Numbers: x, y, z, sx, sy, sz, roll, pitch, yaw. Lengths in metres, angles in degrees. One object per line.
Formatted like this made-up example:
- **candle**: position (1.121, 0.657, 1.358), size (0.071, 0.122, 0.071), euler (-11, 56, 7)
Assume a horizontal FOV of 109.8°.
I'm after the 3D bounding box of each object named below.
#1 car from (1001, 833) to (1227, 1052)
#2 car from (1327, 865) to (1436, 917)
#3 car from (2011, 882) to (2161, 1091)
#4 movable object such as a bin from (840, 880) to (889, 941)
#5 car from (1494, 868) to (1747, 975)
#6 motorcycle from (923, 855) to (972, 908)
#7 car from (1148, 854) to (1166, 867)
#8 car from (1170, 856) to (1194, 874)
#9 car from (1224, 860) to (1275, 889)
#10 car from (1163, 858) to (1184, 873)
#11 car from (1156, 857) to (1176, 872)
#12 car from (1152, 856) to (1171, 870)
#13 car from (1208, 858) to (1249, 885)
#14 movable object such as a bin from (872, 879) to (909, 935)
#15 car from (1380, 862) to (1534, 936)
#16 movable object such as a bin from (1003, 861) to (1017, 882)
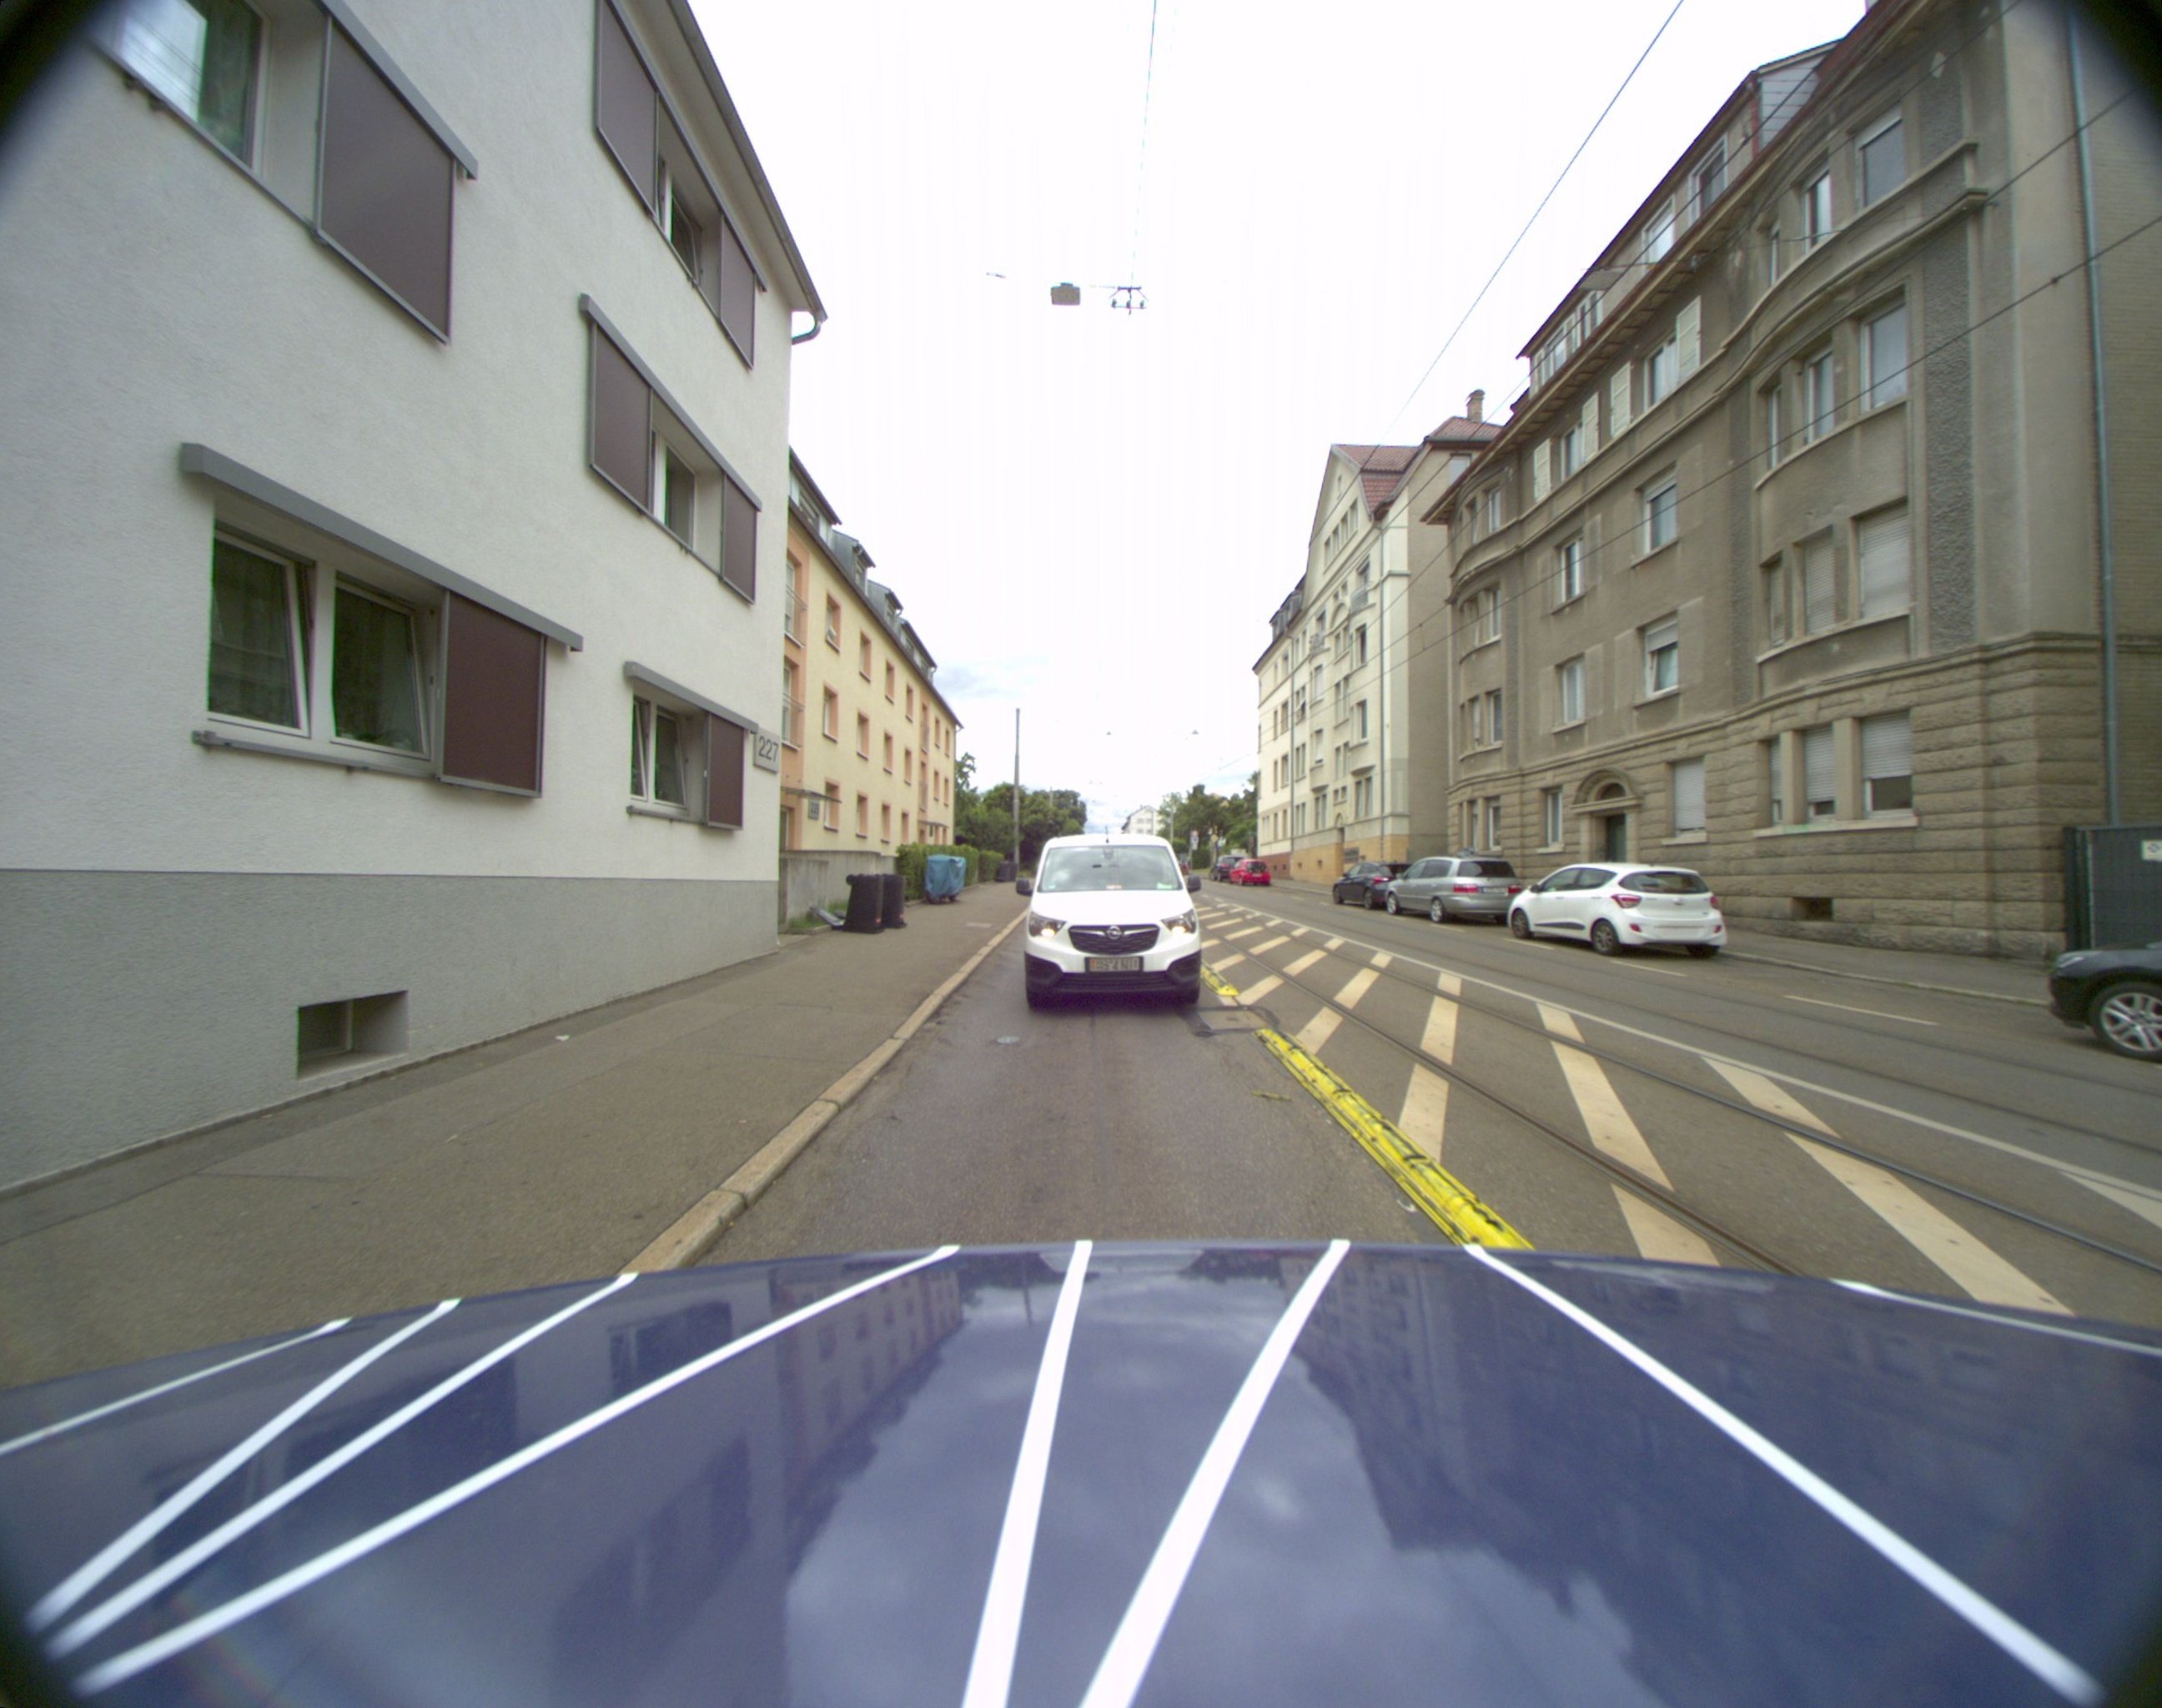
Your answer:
- **car**: position (0.312, 0.739, 8.757), size (1.888, 1.827, 4.676), euler (-1, 0, 1)
- **car**: position (9.200, 1.080, 23.632), size (1.743, 1.373, 4.044), euler (0, 0, 0)
- **car**: position (8.868, 1.032, 4.234), size (1.789, 1.502, 4.526), euler (2, 0, 1)
- **movable object such as a bin**: position (-3.817, 0.983, 13.417), size (0.637, 1.003, 0.602), euler (3, 0, 1)
- **car**: position (9.131, 1.050, 13.313), size (1.743, 1.502, 3.800), euler (1, 0, 1)
- **motorcycle**: position (-3.751, 0.751, 21.514), size (0.731, 1.382, 1.937), euler (4, 0, 7)
- **car**: position (9.687, 0.849, 97.129), size (1.743, 1.517, 3.951), euler (2, 0, 0)
- **car**: position (9.701, 1.046, 73.407), size (1.743, 1.517, 3.951), euler (2, 0, 0)
- **car**: position (9.440, 1.101, 42.945), size (1.744, 1.450, 3.950), euler (2, 0, -3)
- **car**: position (9.657, 1.190, 79.575), size (1.743, 1.517, 3.952), euler (2, 0, 1)
- **car**: position (9.635, 1.171, 85.998), size (1.743, 1.517, 3.951), euler (2, 0, 0)
- **car**: position (9.638, 1.079, 91.423), size (1.743, 1.517, 3.951), euler (2, 0, 0)
- **car**: position (9.191, 1.055, 47.661), size (1.743, 1.517, 3.951), euler (2, 0, 0)
- **movable object such as a bin**: position (-3.612, 1.005, 14.439), size (0.565, 1.003, 0.498), euler (3, 0, -8)
- **car**: position (9.101, 1.012, 18.810), size (1.743, 1.558, 4.142), euler (0, 0, 0)
- **movable object such as a bin**: position (-3.612, 0.890, 38.689), size (0.669, 1.053, 0.539), euler (-1, 0, 1)
